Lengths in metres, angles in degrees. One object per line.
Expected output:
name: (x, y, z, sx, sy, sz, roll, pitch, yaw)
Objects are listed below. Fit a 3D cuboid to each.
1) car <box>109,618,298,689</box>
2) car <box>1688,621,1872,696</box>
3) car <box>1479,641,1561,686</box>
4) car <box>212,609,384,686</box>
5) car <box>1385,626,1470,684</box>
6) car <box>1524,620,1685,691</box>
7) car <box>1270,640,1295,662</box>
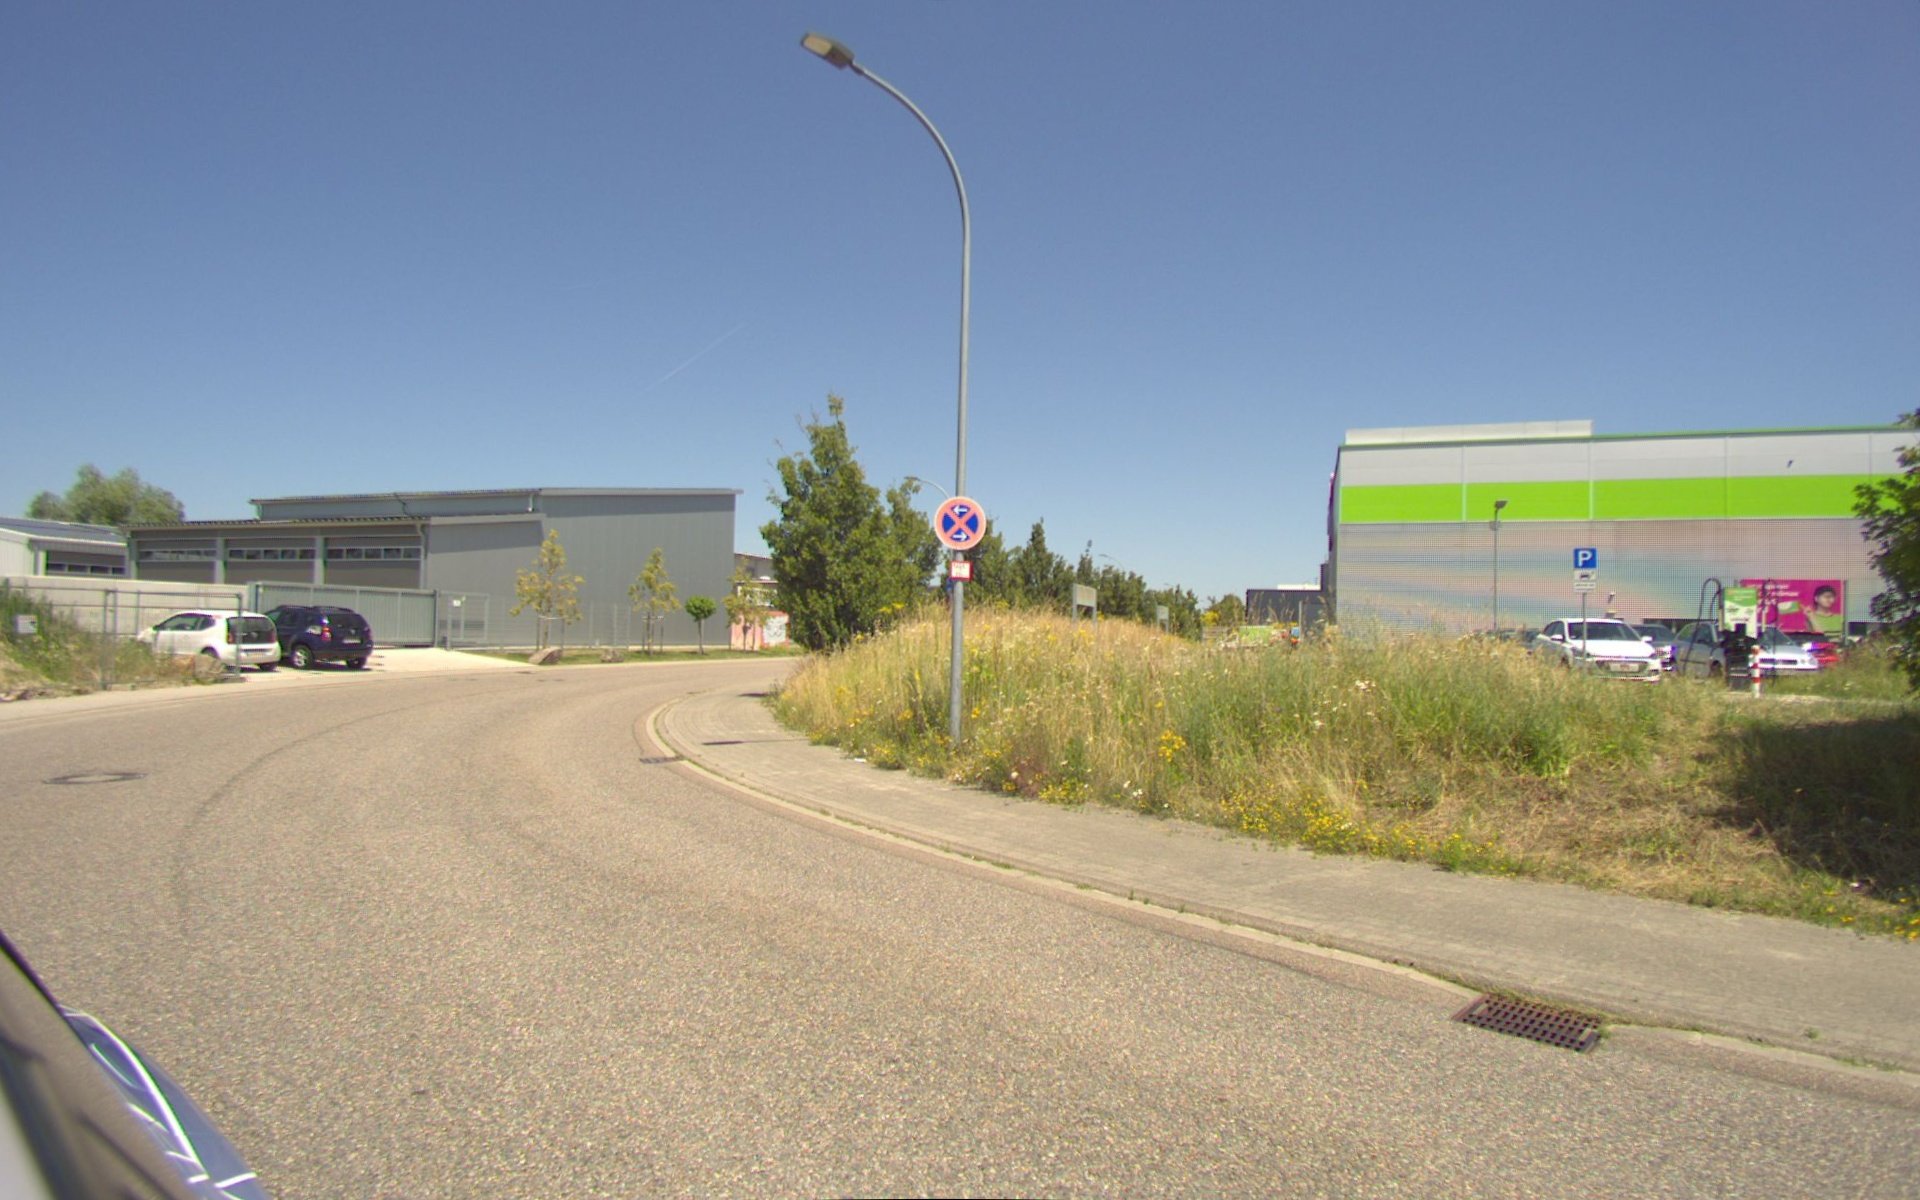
car: (-19.195, 1.334, 25.721, 3.991, 1.473, 1.881, 3, -2, 19)
car: (16.964, 1.198, 21.162, 1.628, 1.410, 3.777, 0, -3, 17)
car: (18.089, 2.027, 32.825, 1.478, 1.335, 3.977, 0, -3, 17)
car: (-18.282, 1.295, 27.976, 3.993, 1.667, 1.846, 5, -1, 20)
car: (15.474, 1.828, 33.683, 1.983, 1.790, 3.977, 0, -3, 17)
car: (14.226, 1.230, 22.609, 1.983, 1.423, 3.977, 0, -3, 17)
car: (20.101, 3.170, 63.062, 1.424, 1.362, 3.217, -1, -3, 19)
